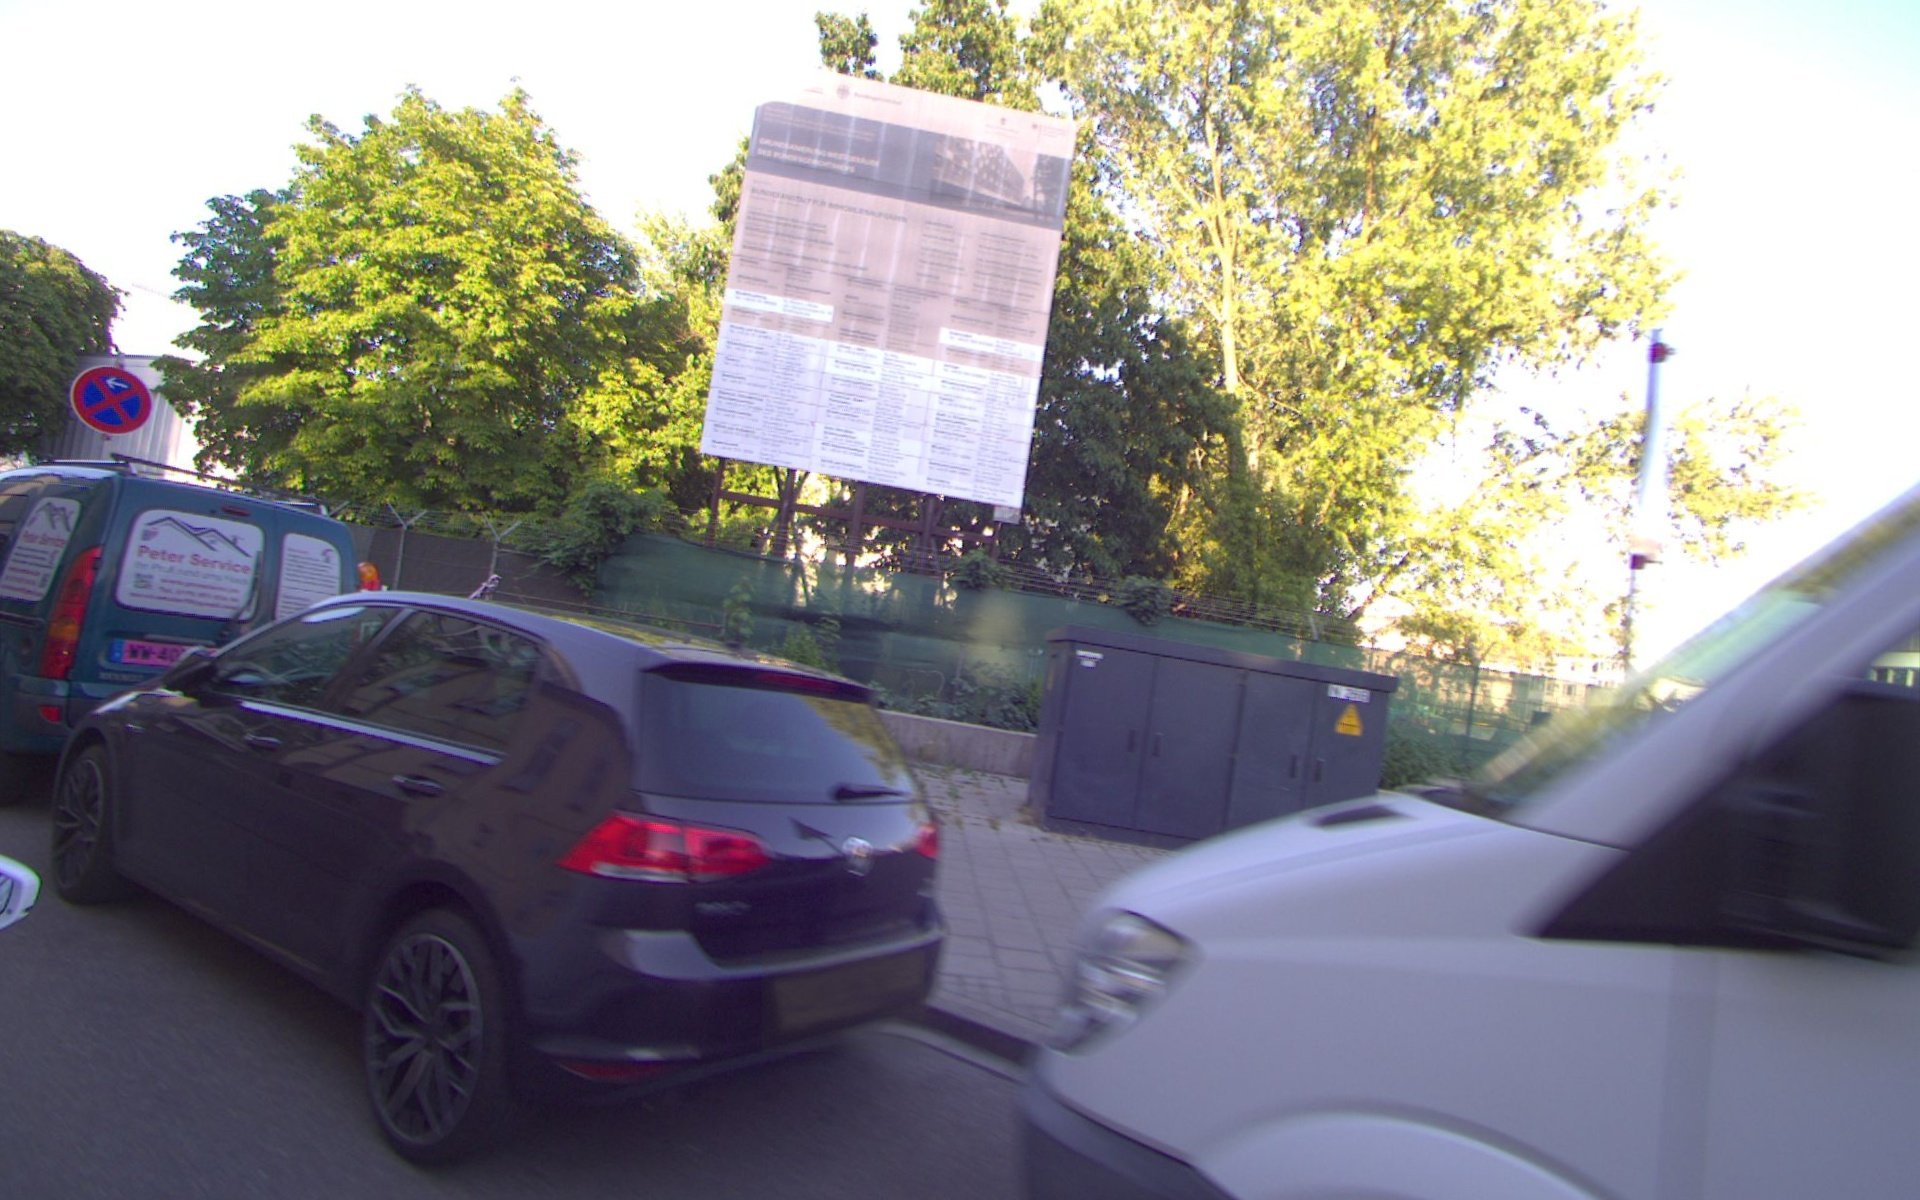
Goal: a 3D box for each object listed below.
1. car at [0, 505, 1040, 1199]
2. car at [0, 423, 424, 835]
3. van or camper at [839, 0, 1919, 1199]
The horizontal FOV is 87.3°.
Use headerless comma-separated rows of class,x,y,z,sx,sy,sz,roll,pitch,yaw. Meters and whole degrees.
car,-1.940,0.646,4.002,4.031,1.475,1.697,7,-3,33
car,-5.439,0.037,6.329,3.956,1.868,1.717,7,-3,33
van or camper,3.097,0.571,1.082,6.345,2.805,2.082,7,-3,33
